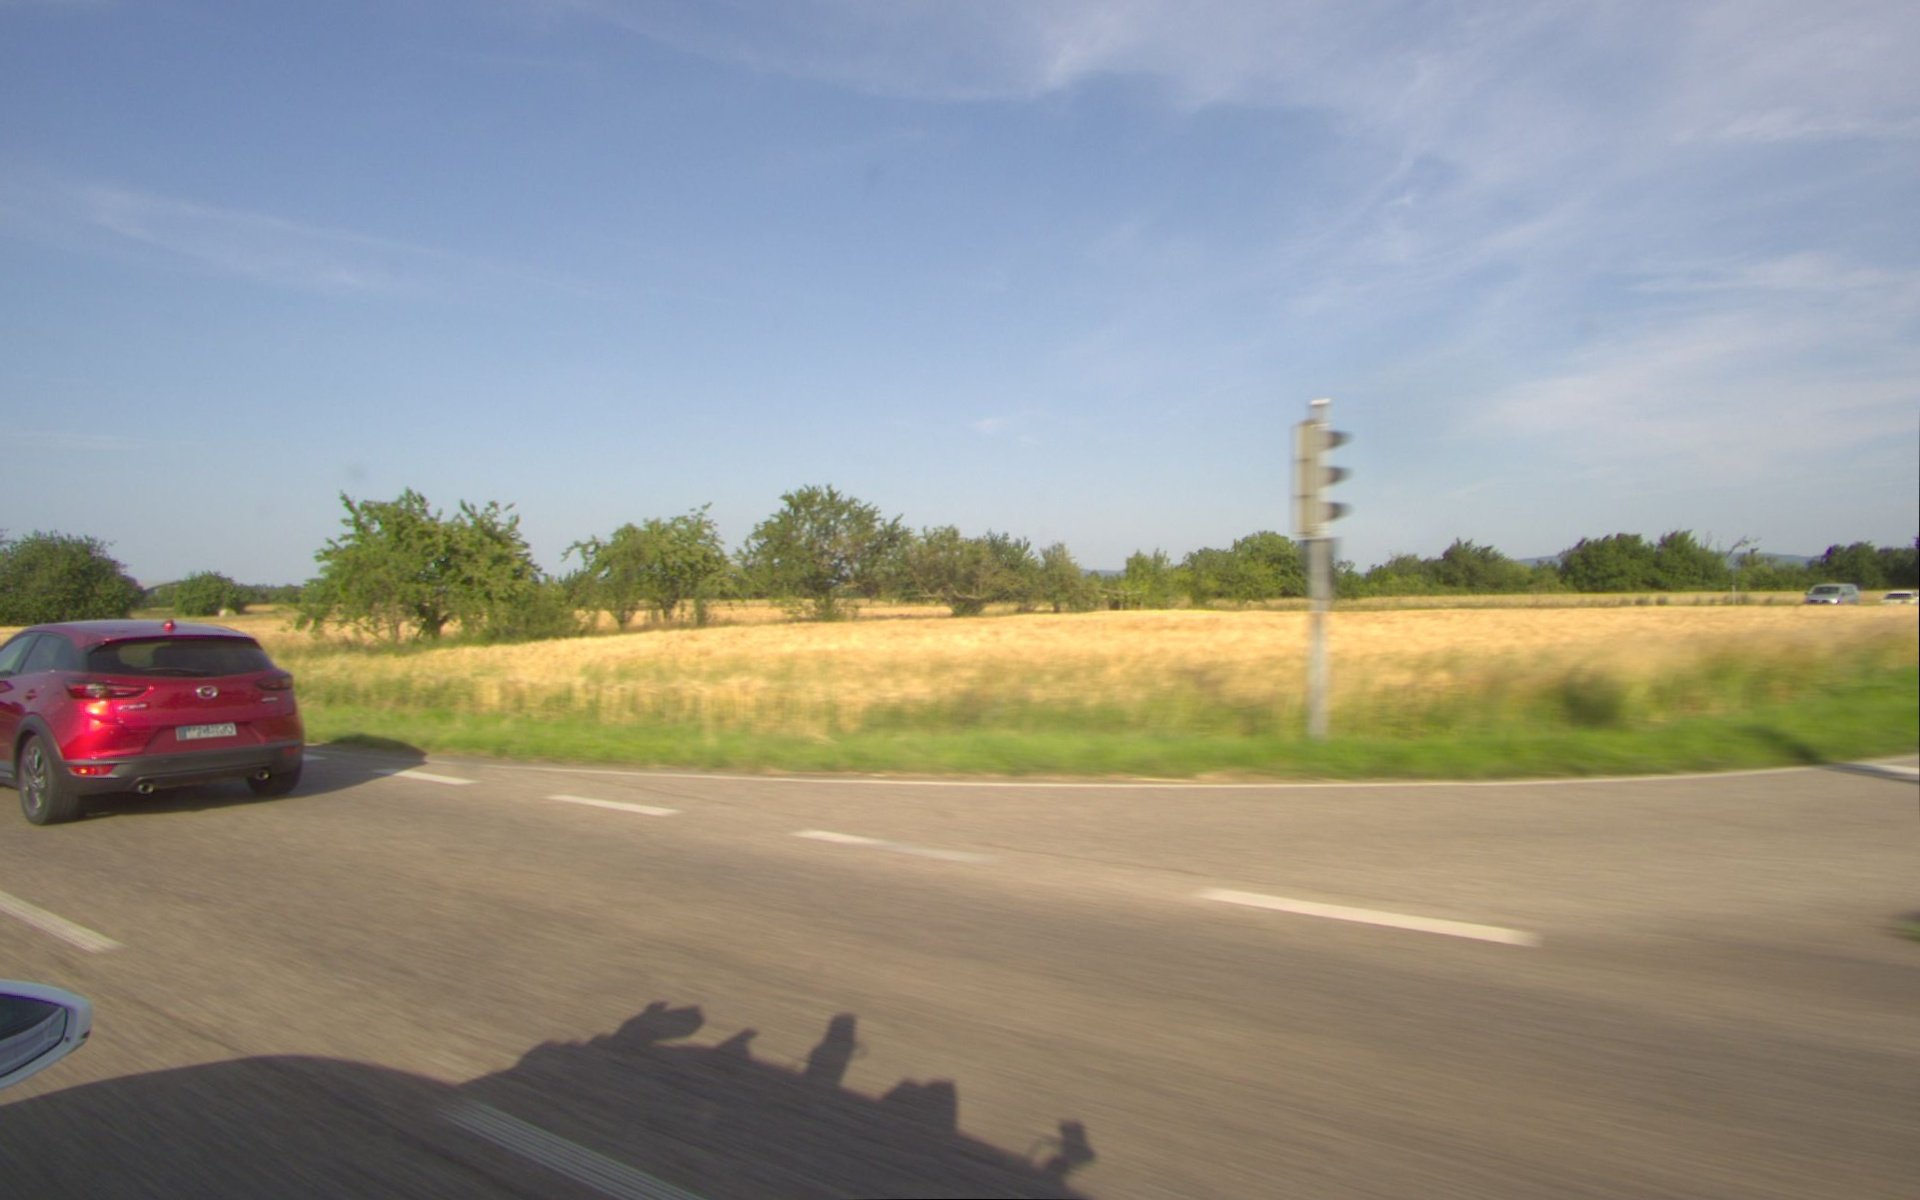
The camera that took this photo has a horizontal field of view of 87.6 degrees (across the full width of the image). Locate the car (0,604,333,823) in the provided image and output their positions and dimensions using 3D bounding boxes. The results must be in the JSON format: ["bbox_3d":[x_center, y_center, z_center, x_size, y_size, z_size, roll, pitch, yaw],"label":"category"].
[{"bbox_3d":[-7.602,0.845,8.891,4.436,1.525,1.701,-1,-2,32],"label":"car"}]

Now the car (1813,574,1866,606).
[{"bbox_3d":[58.026,-0.617,66.053,3.951,1.973,1.834,1,-2,-37],"label":"car"}]
